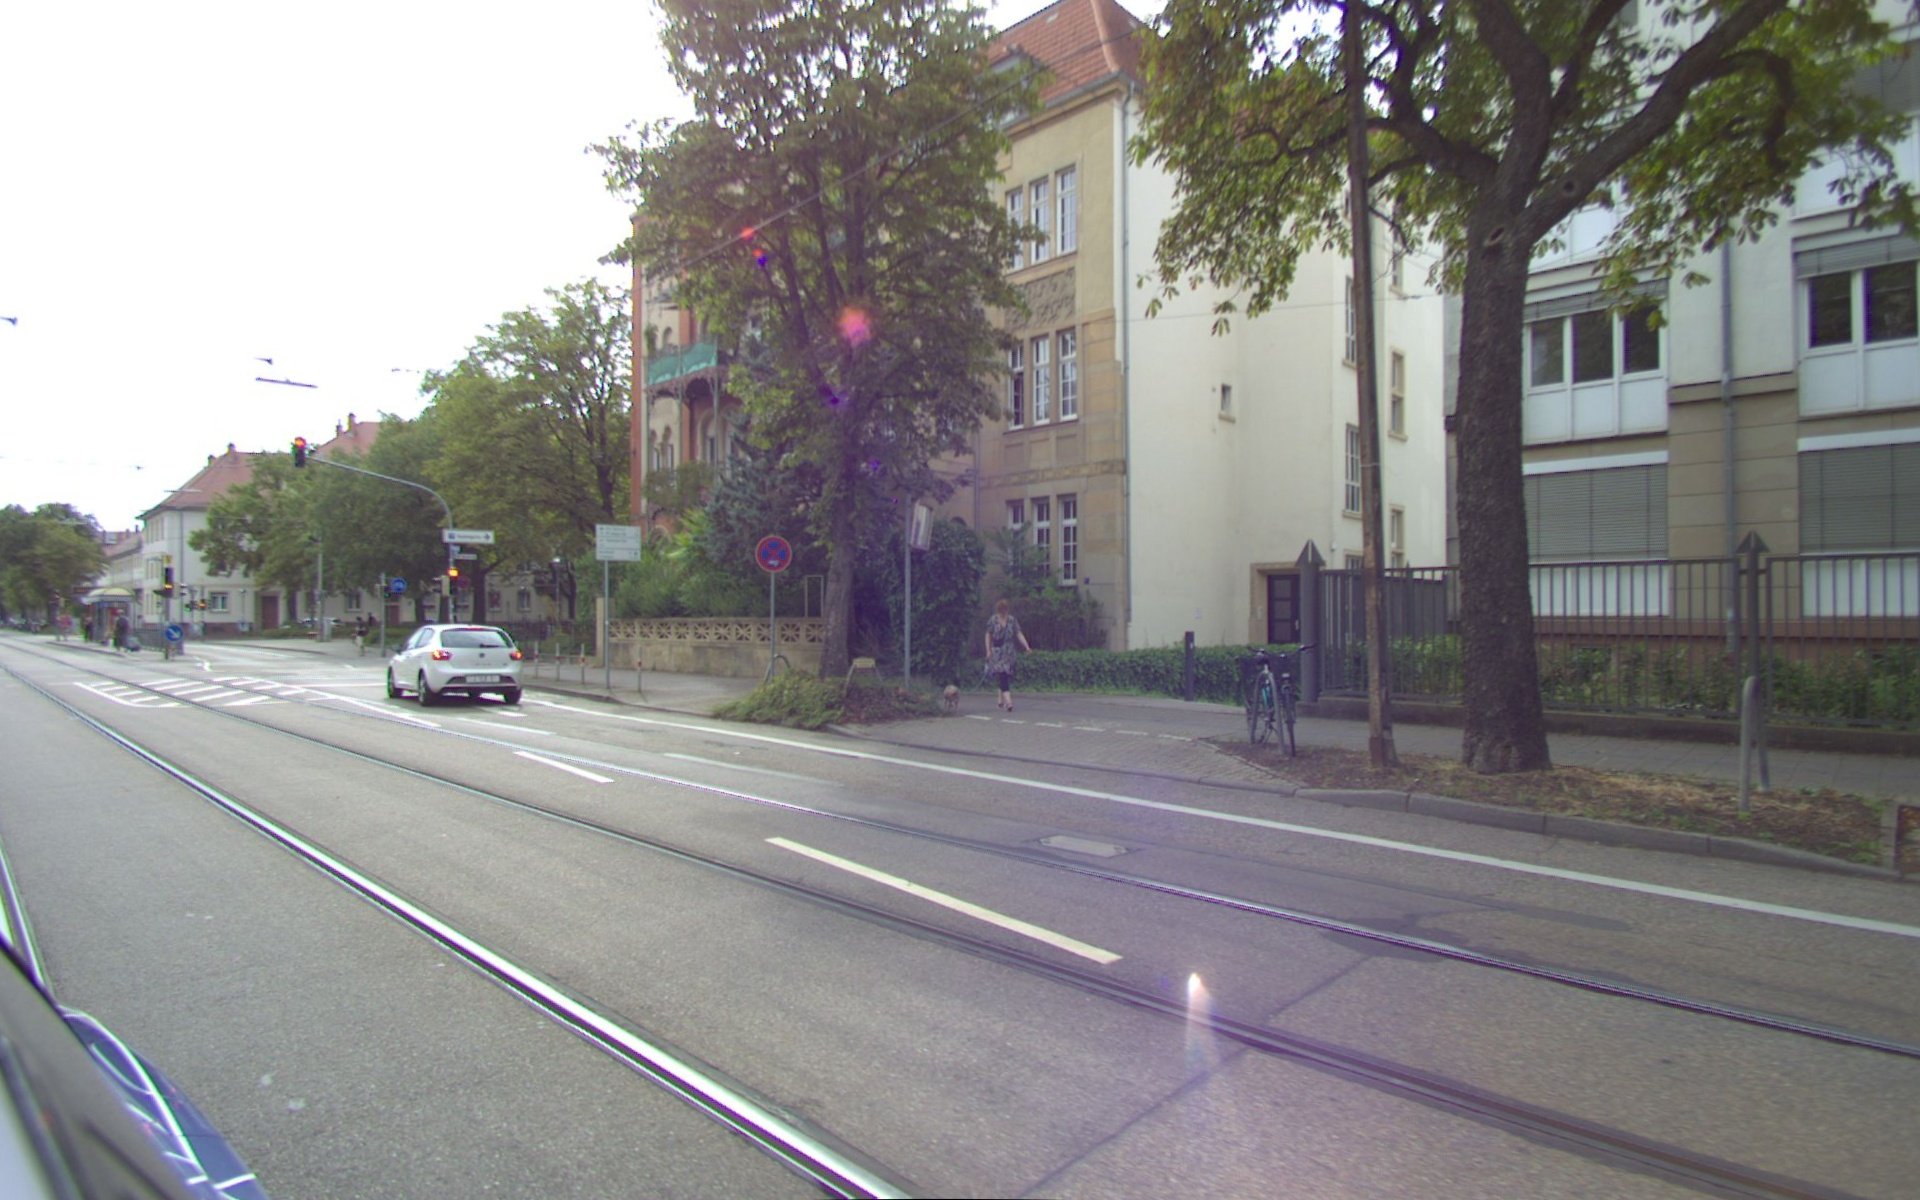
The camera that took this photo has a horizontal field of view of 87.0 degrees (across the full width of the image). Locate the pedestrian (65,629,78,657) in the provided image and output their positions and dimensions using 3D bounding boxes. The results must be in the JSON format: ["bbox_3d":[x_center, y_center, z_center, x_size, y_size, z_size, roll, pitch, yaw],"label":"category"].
[{"bbox_3d":[-54.883,2.634,62.523,0.400,1.716,0.496,-1,-1,31],"label":"pedestrian"}]

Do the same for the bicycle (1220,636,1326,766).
[{"bbox_3d":[3.337,1.025,10.996,0.826,1.184,2.229,-1,0,11],"label":"bicycle"}]

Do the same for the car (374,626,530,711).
[{"bbox_3d":[-9.613,1.232,19.021,1.552,1.427,4.004,3,-4,-42],"label":"car"}]

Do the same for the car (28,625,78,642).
[{"bbox_3d":[-98.168,3.617,109.523,3.940,1.739,1.878,-1,-1,-44],"label":"car"}]

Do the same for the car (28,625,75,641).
[{"bbox_3d":[-104.505,3.794,116.403,3.940,1.739,1.878,-1,-1,-44],"label":"car"}]

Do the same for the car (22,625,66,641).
[{"bbox_3d":[-111.851,3.994,123.653,3.940,1.739,1.878,-1,-1,-44],"label":"car"}]

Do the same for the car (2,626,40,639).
[{"bbox_3d":[-133.603,4.580,143.951,3.940,1.739,1.878,-1,-1,-44],"label":"car"}]

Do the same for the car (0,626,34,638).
[{"bbox_3d":[-145.642,4.909,156.142,3.940,1.739,1.878,-1,-1,-44],"label":"car"}]

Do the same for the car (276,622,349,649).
[{"bbox_3d":[-47.530,2.600,74.345,4.130,1.879,1.858,-1,0,-11],"label":"car"}]

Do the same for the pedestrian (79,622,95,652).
[{"bbox_3d":[-49.868,2.108,57.826,0.618,1.716,0.580,-2,-1,40],"label":"pedestrian"}]

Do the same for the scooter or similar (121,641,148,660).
[{"bbox_3d":[-33.413,2.046,40.973,0.659,0.718,0.605,1,-2,-15],"label":"scooter or similar"}]

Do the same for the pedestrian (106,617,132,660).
[{"bbox_3d":[-34.200,1.549,41.145,0.815,1.703,0.675,-1,-2,43],"label":"pedestrian"}]

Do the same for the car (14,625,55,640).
[{"bbox_3d":[-119.576,4.201,130.750,3.940,1.739,1.878,-1,-1,-44],"label":"car"}]

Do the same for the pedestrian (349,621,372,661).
[{"bbox_3d":[-25.883,1.780,43.691,0.711,1.703,0.646,-1,-2,40],"label":"pedestrian"}]

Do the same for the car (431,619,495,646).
[{"bbox_3d":[-35.922,2.330,73.156,3.710,1.879,1.851,-1,0,5],"label":"car"}]

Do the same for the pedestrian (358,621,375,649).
[{"bbox_3d":[-42.761,2.515,72.927,0.850,2.029,0.766,-1,-1,-12],"label":"pedestrian"}]

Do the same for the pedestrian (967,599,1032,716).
[{"bbox_3d":[0.621,0.874,15.757,0.700,1.749,0.698,-2,-1,39],"label":"pedestrian"}]

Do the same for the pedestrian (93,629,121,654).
[{"bbox_3d":[-44.136,2.122,52.376,0.723,1.246,1.019,-2,-1,42],"label":"pedestrian"}]

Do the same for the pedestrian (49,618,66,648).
[{"bbox_3d":[-55.314,2.010,62.033,0.463,1.848,0.651,-1,-1,31],"label":"pedestrian"}]

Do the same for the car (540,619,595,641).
[{"bbox_3d":[-25.614,1.950,65.917,4.312,1.415,1.679,-2,-2,44],"label":"car"}]
